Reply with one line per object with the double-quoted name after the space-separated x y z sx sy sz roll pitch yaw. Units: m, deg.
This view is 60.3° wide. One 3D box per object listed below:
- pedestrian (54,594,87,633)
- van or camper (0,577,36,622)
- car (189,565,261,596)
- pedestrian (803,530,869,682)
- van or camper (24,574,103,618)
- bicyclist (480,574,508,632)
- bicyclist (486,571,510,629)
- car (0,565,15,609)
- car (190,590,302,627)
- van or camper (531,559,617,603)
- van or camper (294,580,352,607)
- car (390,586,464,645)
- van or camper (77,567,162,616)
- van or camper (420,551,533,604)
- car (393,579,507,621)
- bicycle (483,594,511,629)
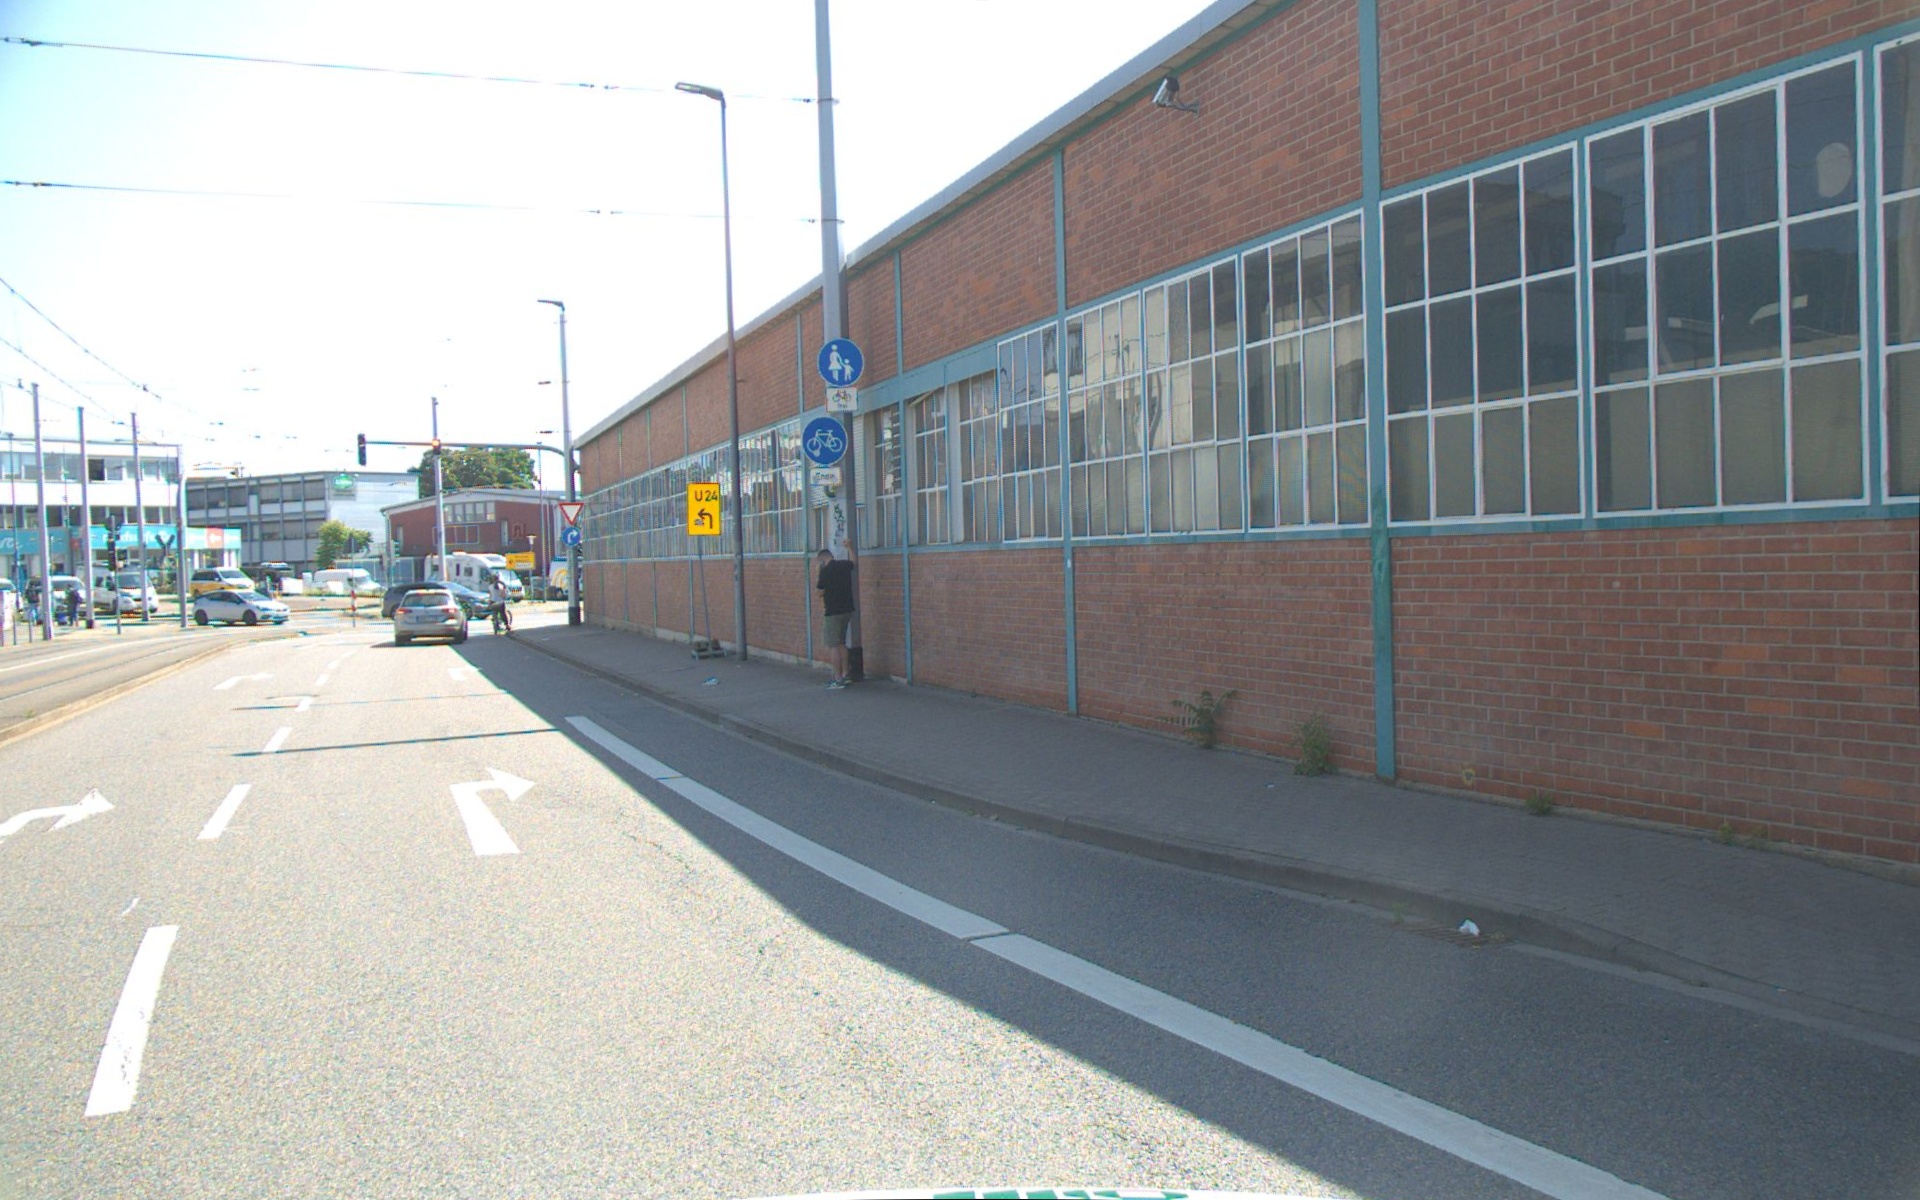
-35.758 0.533 66.474 1.117 1.480 0.830 -2 1 -29 "pedestrian"
-49.159 -0.048 84.416 4.676 2.048 1.989 2 4 41 "van or camper"
-45.403 -1.187 102.108 5.023 1.789 1.936 -1 1 38 "car"
-1.506 0.057 20.101 0.675 1.795 0.446 -2 3 -25 "pedestrian"
-46.560 -0.220 85.820 4.920 2.048 1.989 2 4 41 "van or camper"
-14.355 0.086 51.005 0.773 1.751 1.142 -2 1 -16 "bicyclist"
-14.903 -0.004 53.355 0.696 1.842 0.978 -2 1 -16 "bicyclist"
-37.456 -0.432 61.181 3.923 1.545 1.992 -2 3 -17 "car"
-30.068 0.347 69.650 4.102 1.398 1.804 -2 1 17 "car"
-24.143 -1.223 103.371 5.277 2.482 2.282 3 5 35 "van or camper"
-49.536 -0.493 128.643 3.908 1.981 1.999 -1 1 25 "van or camper"
-14.809 0.404 46.099 1.717 1.484 3.984 -2 1 -15 "car"
-44.654 -0.493 87.813 5.708 2.335 2.027 2 4 41 "van or camper"
-29.092 -1.378 99.407 6.832 2.981 2.351 1 4 29 "van or camper"
-20.470 -0.014 66.468 3.905 1.534 1.880 -2 1 1 "car"
-14.294 0.340 51.080 0.781 1.039 2.142 -2 1 -15 "bicycle"
